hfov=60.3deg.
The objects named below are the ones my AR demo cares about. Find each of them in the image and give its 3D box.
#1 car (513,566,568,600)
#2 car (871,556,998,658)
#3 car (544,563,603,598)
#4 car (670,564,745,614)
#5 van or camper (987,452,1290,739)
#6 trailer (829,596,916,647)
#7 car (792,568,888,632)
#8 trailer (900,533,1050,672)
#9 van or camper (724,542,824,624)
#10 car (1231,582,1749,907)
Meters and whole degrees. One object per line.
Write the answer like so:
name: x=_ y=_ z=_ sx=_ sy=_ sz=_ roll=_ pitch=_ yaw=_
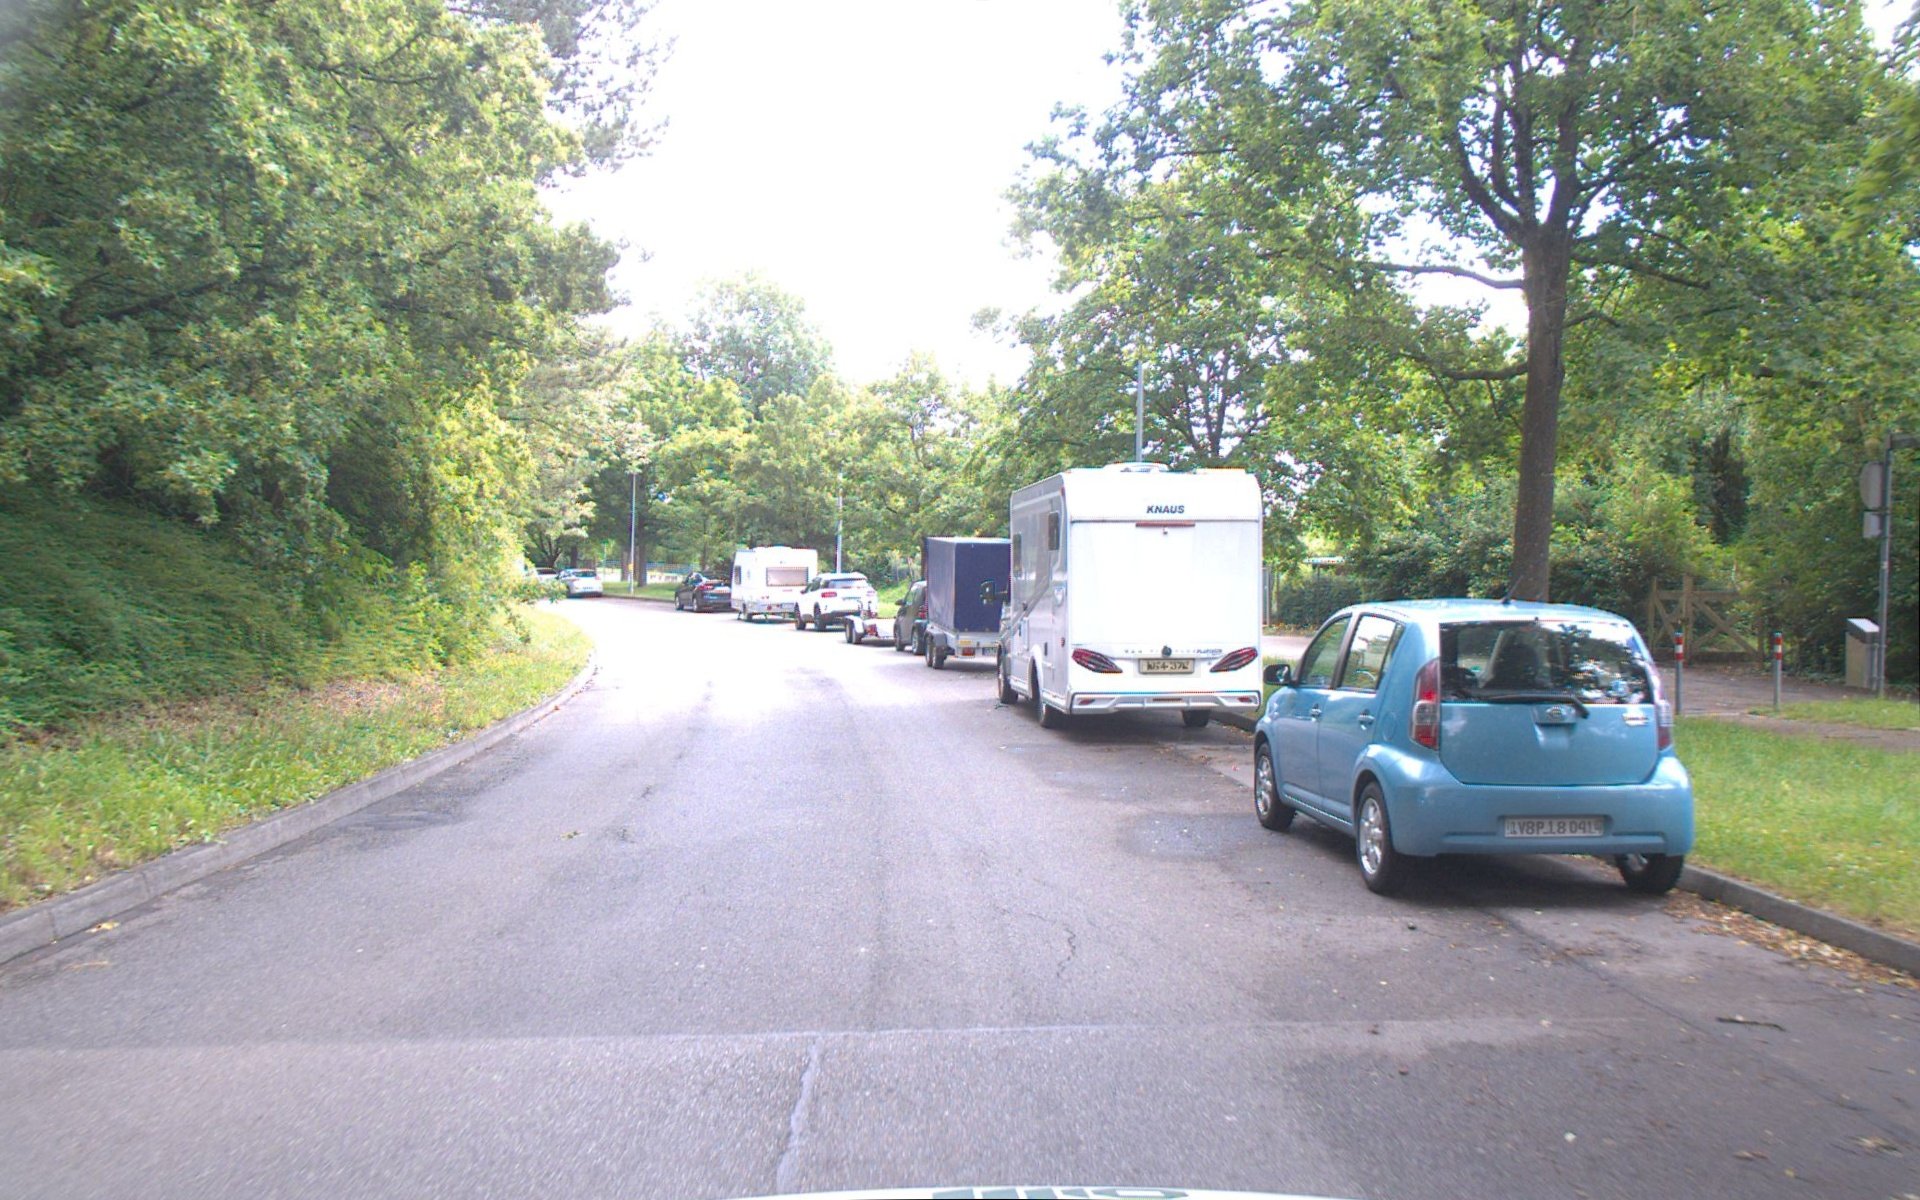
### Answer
car: x=-23.240 y=-0.931 z=91.484 sx=1.973 sy=1.785 sz=3.960 roll=1 pitch=0 yaw=-30
car: x=-0.633 y=0.092 z=36.647 sx=1.960 sy=2.061 sz=3.987 roll=-2 pitch=2 yaw=-13
car: x=-20.141 y=-0.990 z=86.152 sx=1.973 sy=1.785 sz=3.960 roll=1 pitch=0 yaw=-30
car: x=-10.328 y=-0.494 z=67.390 sx=1.969 sy=1.902 sz=3.968 roll=-2 pitch=2 yaw=-25
van or camper: x=1.908 y=-0.031 z=20.484 sx=2.433 sy=2.926 sz=6.882 roll=1 pitch=0 yaw=-5
trailer: x=-2.196 y=0.499 z=40.500 sx=1.622 sy=1.105 sz=3.990 roll=-1 pitch=1 yaw=-10
car: x=-3.659 y=-0.033 z=49.693 sx=2.003 sy=1.835 sz=4.062 roll=0 pitch=1 yaw=-18
trailer: x=0.209 y=0.043 z=31.184 sx=1.959 sy=2.440 sz=3.987 roll=1 pitch=0 yaw=-13
van or camper: x=-6.548 y=-0.620 z=57.895 sx=2.490 sy=2.744 sz=4.548 roll=-1 pitch=1 yaw=-20
car: x=2.930 y=0.691 z=10.052 sx=1.764 sy=1.589 sz=3.833 roll=0 pitch=0 yaw=-3
